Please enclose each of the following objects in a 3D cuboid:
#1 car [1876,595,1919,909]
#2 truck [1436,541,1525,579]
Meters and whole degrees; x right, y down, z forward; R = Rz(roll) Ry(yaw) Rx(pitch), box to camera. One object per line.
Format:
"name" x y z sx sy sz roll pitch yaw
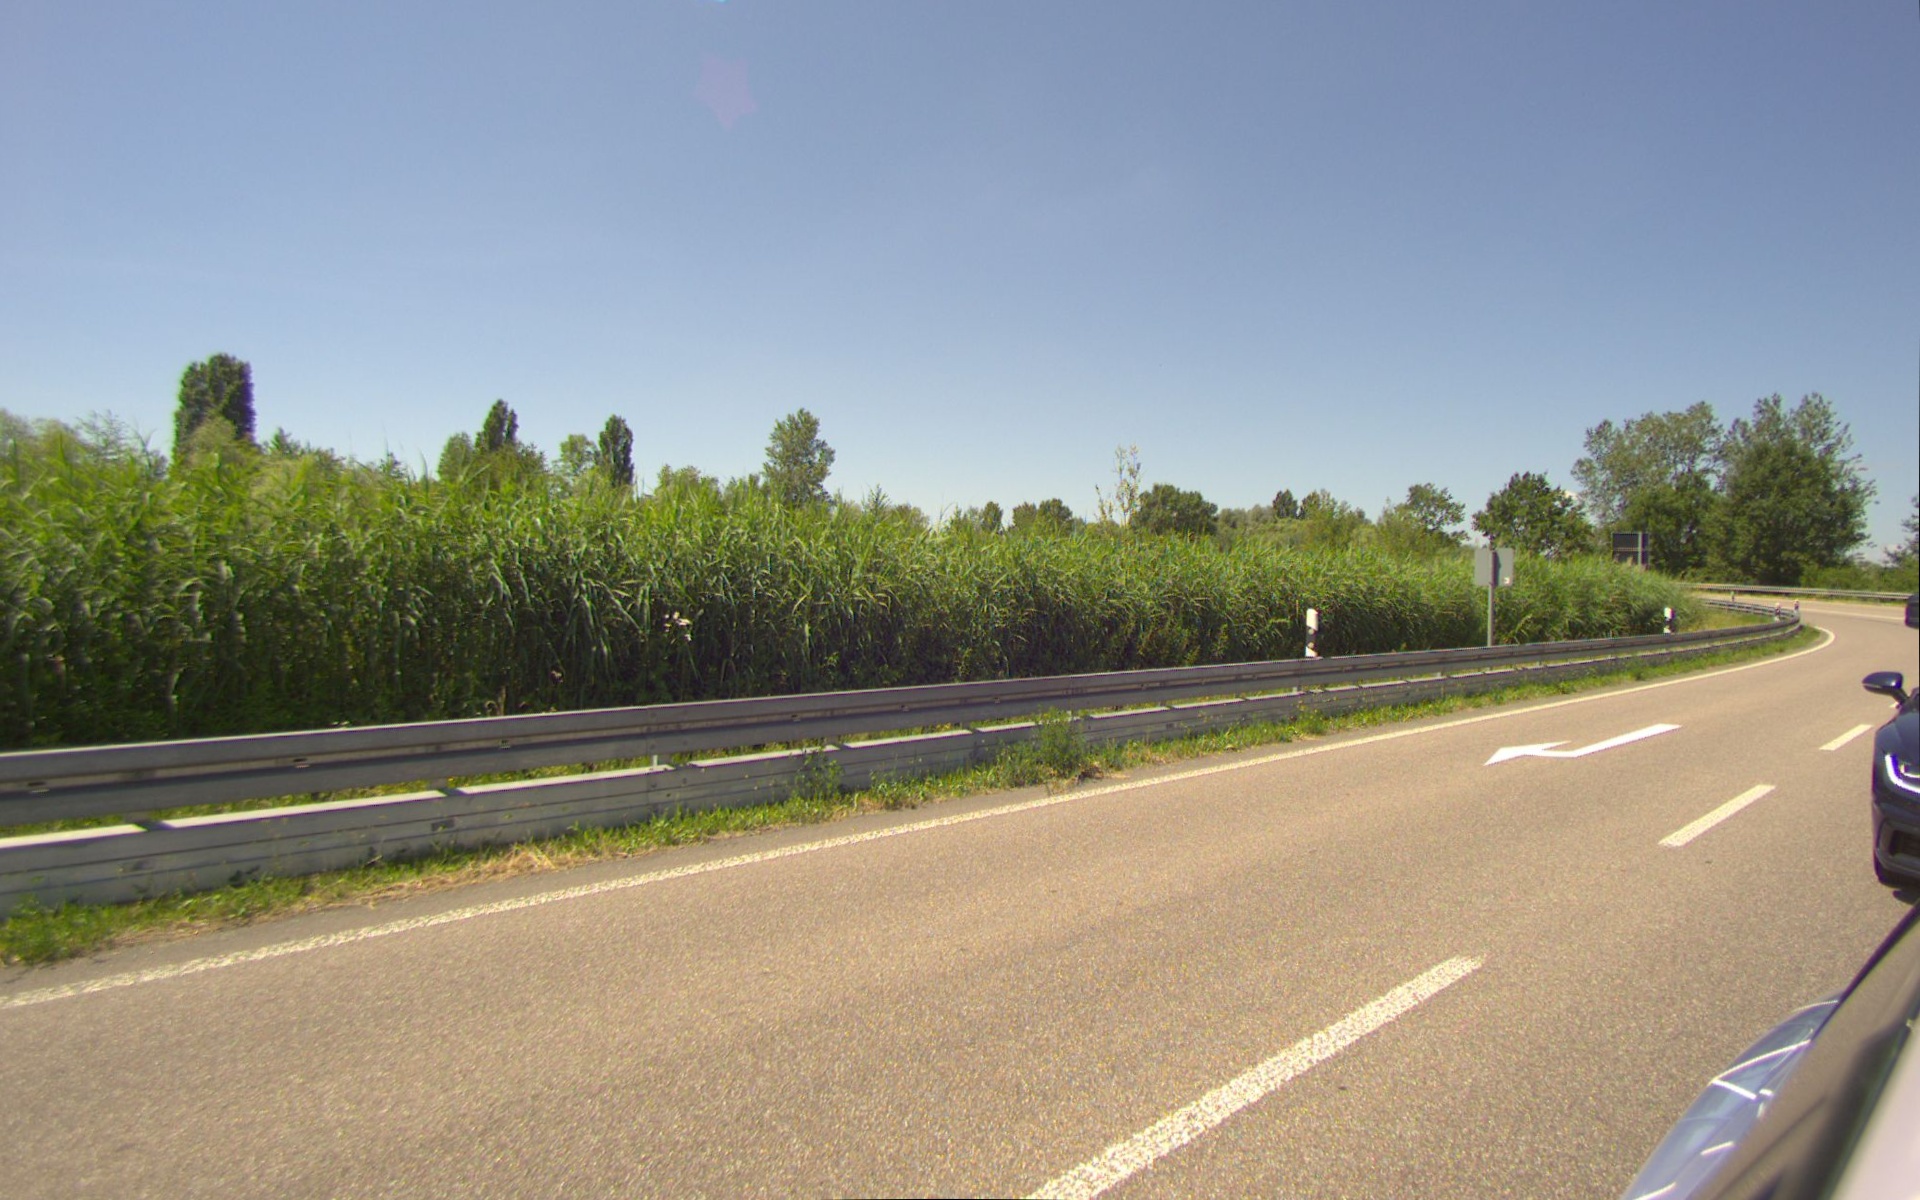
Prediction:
"car" 6.334 0.686 5.375 3.931 1.427 1.759 -1 1 -41
"truck" 45.530 -3.427 88.911 2.526 3.108 9.089 0 1 -5
